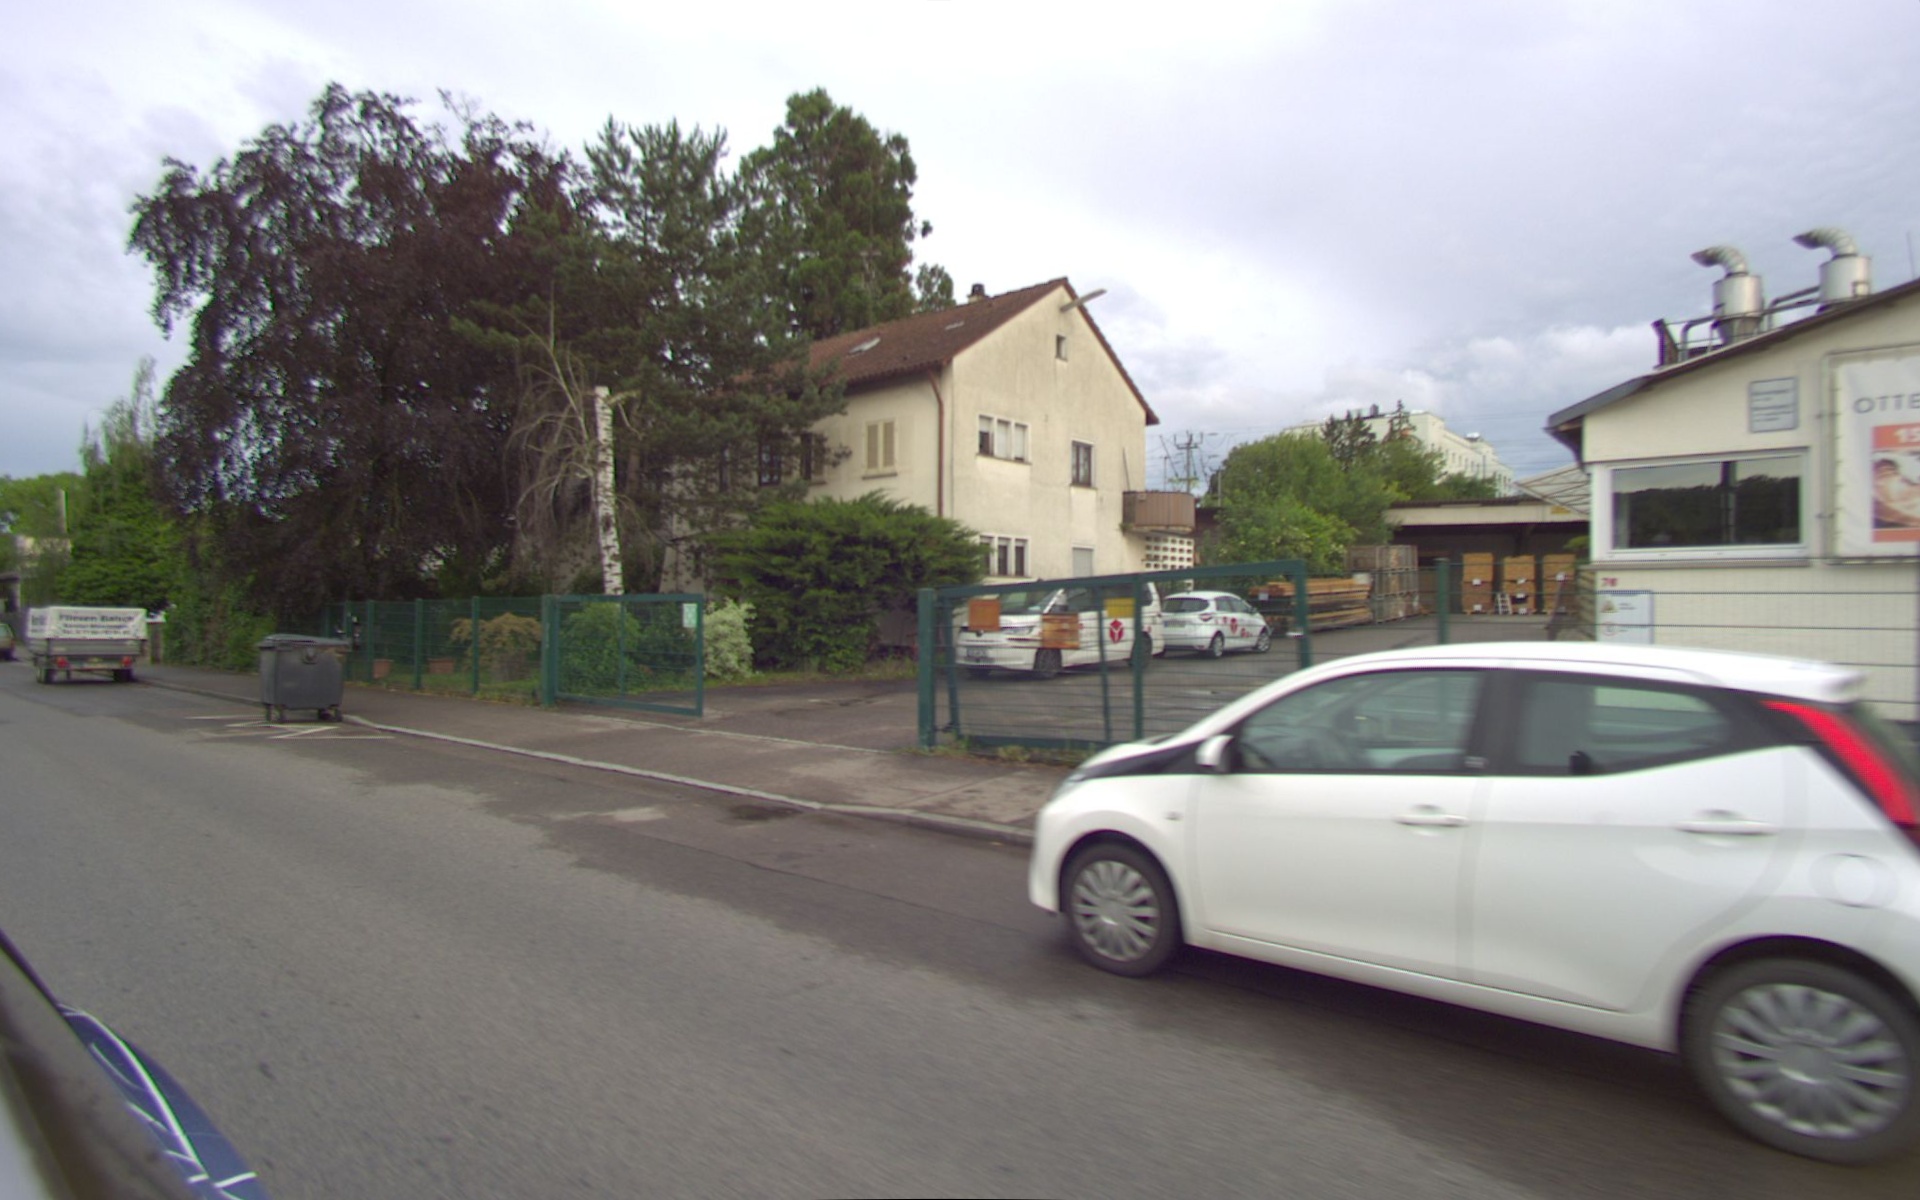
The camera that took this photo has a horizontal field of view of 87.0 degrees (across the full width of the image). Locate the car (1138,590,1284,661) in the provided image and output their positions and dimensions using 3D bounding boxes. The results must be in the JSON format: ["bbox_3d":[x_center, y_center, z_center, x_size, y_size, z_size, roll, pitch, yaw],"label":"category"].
[{"bbox_3d":[6.232,0.563,24.870,1.785,1.563,3.944,-1,0,43],"label":"car"}]

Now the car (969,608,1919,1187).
[{"bbox_3d":[1.942,0.822,4.255,3.658,1.520,1.599,-1,-2,41],"label":"car"}]

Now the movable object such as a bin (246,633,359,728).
[{"bbox_3d":[-10.168,1.199,15.636,1.424,1.320,1.089,-1,0,40],"label":"movable object such as a bin"}]

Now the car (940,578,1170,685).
[{"bbox_3d":[2.032,0.525,20.279,2.000,1.871,4.945,-1,0,42],"label":"car"}]

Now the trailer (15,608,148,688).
[{"bbox_3d":[-22.029,1.138,25.326,4.546,1.779,1.909,-1,0,41],"label":"trailer"}]

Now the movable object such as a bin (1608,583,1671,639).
[{"bbox_3d":[17.457,0.275,26.002,1.240,1.397,1.313,-1,0,38],"label":"movable object such as a bin"}]

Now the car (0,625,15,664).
[{"bbox_3d":[-37.729,1.684,38.692,4.978,1.438,1.797,-1,-2,41],"label":"car"}]

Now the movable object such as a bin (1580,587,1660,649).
[{"bbox_3d":[15.769,0.417,24.184,1.485,1.397,1.268,-1,0,38],"label":"movable object such as a bin"}]

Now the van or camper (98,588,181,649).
[{"bbox_3d":[-43.878,0.943,54.084,6.146,3.058,2.280,-1,0,40],"label":"van or camper"}]
